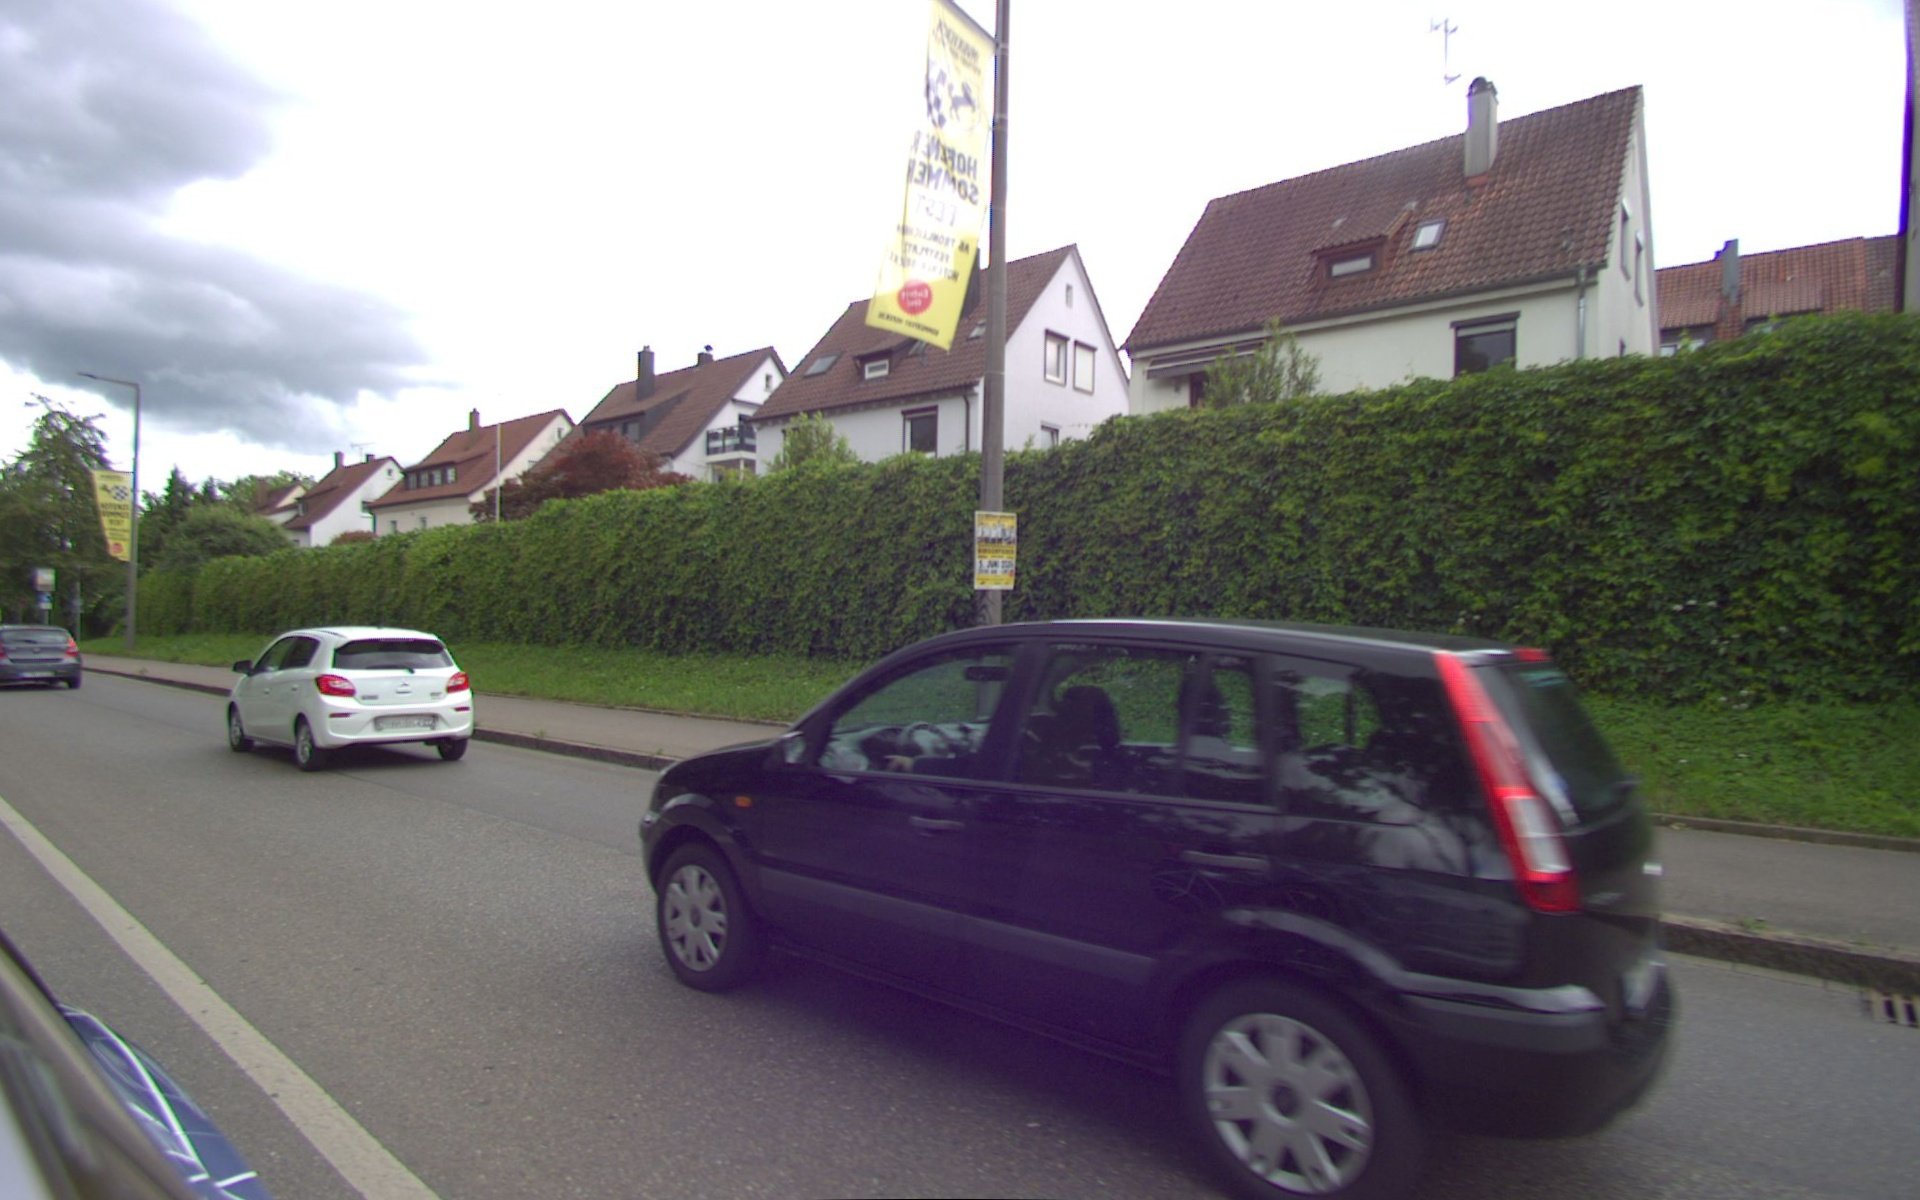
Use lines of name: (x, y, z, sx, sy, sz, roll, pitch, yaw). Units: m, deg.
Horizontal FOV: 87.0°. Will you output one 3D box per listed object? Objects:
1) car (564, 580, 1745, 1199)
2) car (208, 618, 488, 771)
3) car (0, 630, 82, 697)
car: (0.338, 0.784, 3.835, 4.103, 1.492, 1.626, -1, -4, 40)
car: (-7.208, 1.007, 11.764, 4.070, 1.472, 1.601, -1, -5, 42)
car: (-22.324, 1.465, 23.952, 4.151, 1.475, 1.710, -2, -3, 41)
